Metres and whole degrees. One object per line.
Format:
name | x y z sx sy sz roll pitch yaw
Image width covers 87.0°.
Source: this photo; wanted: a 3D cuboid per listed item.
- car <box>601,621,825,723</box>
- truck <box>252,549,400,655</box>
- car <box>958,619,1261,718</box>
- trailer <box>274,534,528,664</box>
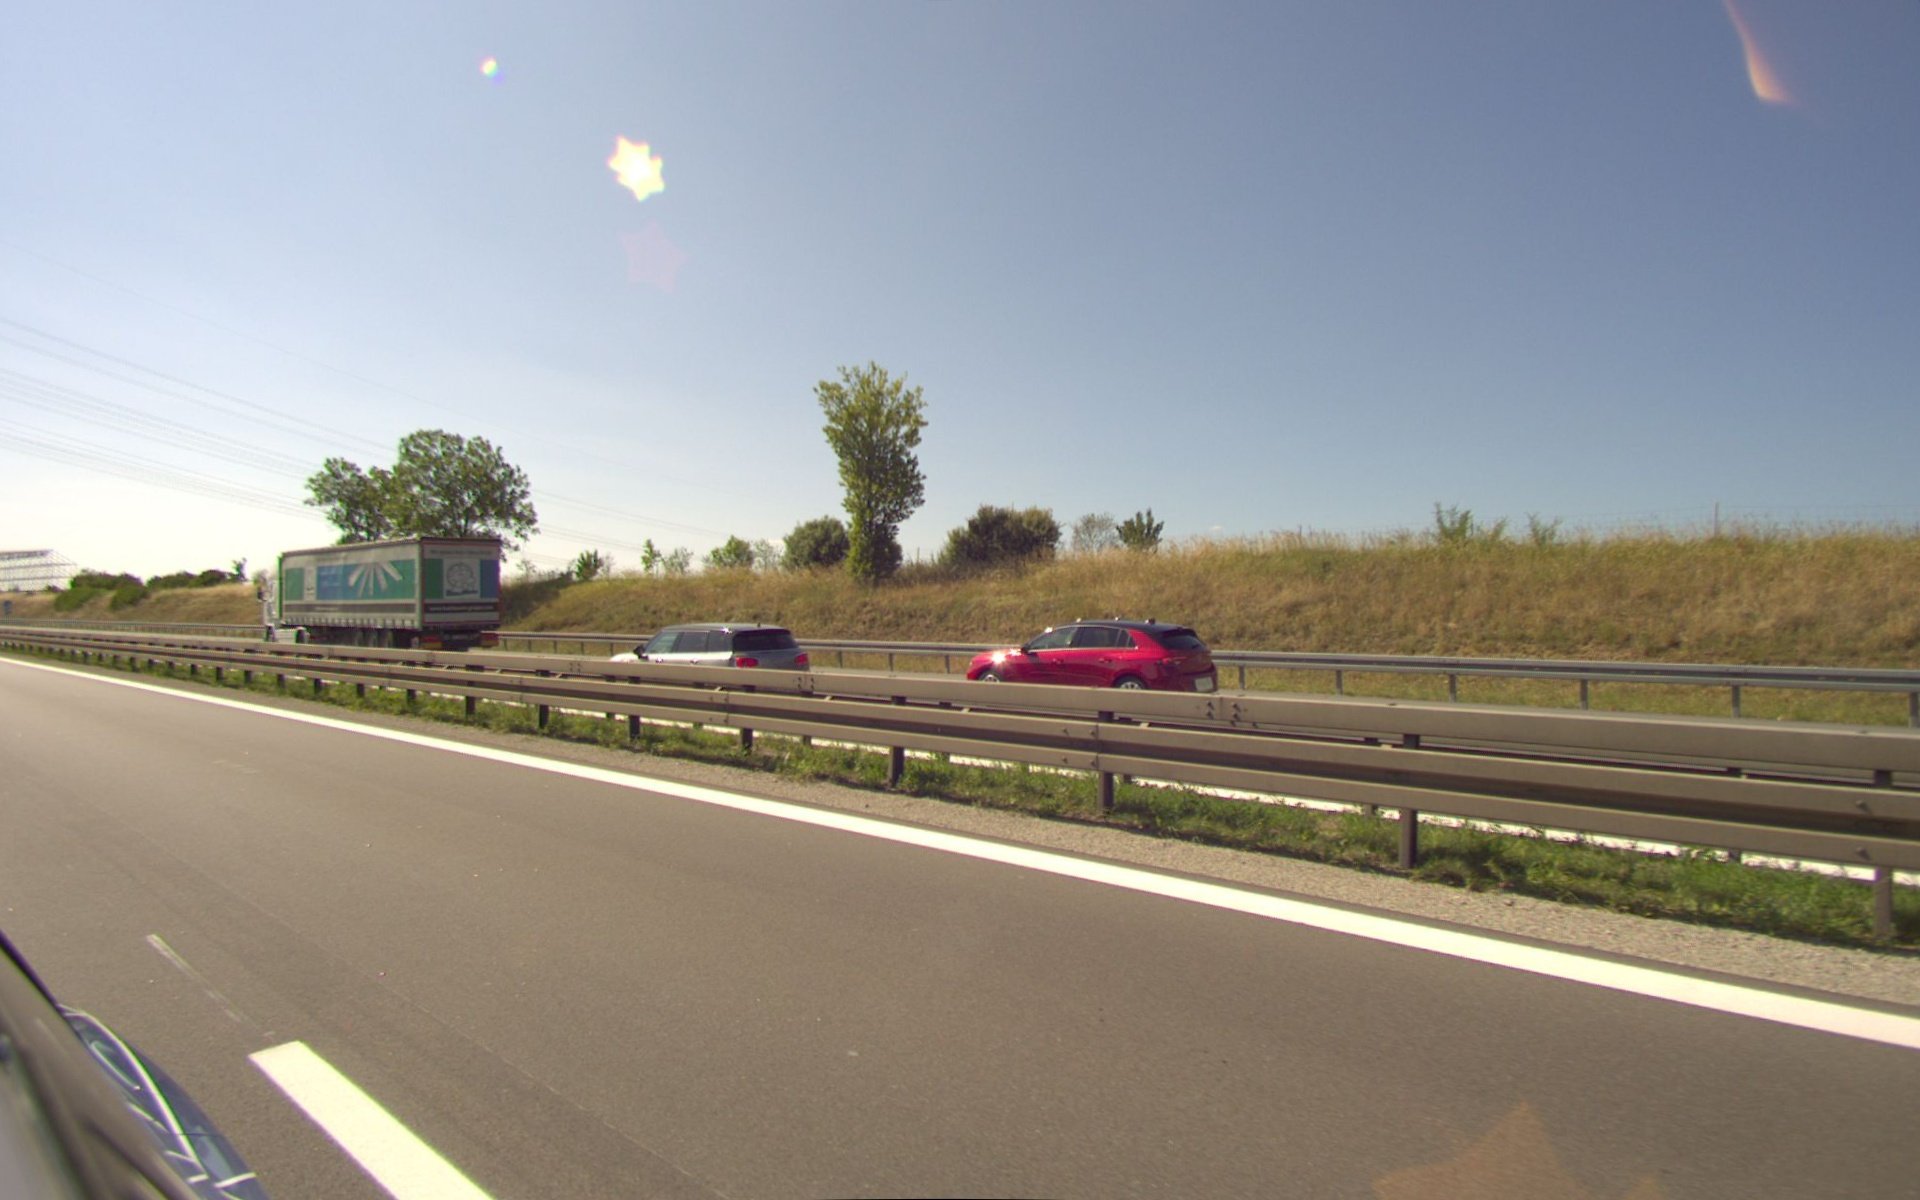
car | -4.082 1.075 16.431 3.924 1.441 1.568 -1 -1 41
truck | -26.206 0.128 41.757 6.120 4.029 3.577 -1 -1 41
car | 2.294 1.001 16.340 4.551 1.370 1.886 -1 -1 41
trailer | -20.974 0.067 37.257 14.039 4.029 3.577 -1 -1 41
